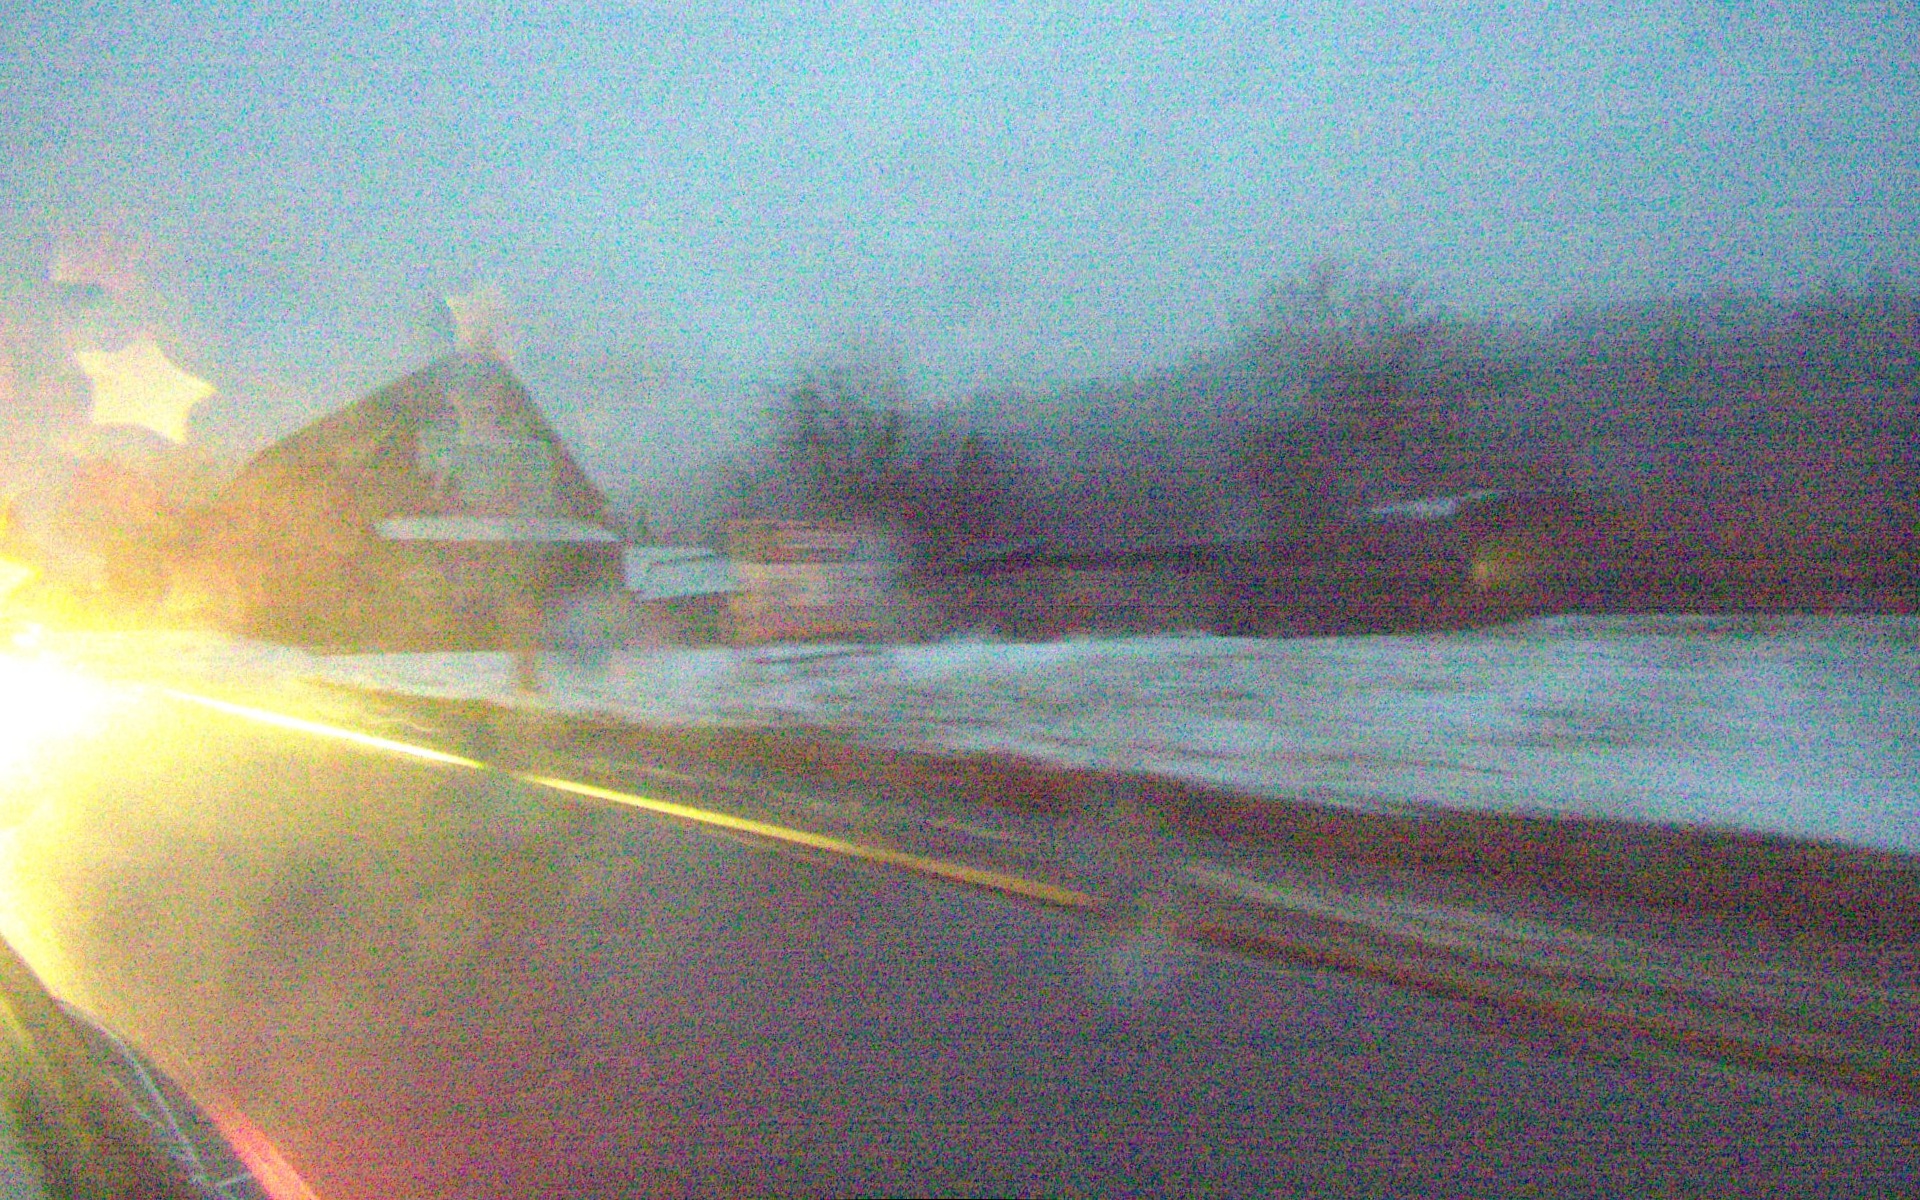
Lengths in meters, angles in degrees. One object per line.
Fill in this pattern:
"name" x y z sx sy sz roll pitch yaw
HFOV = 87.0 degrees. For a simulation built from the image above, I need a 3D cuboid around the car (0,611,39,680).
"car" -23.299 1.070 23.962 3.613 1.520 1.783 0 1 41
